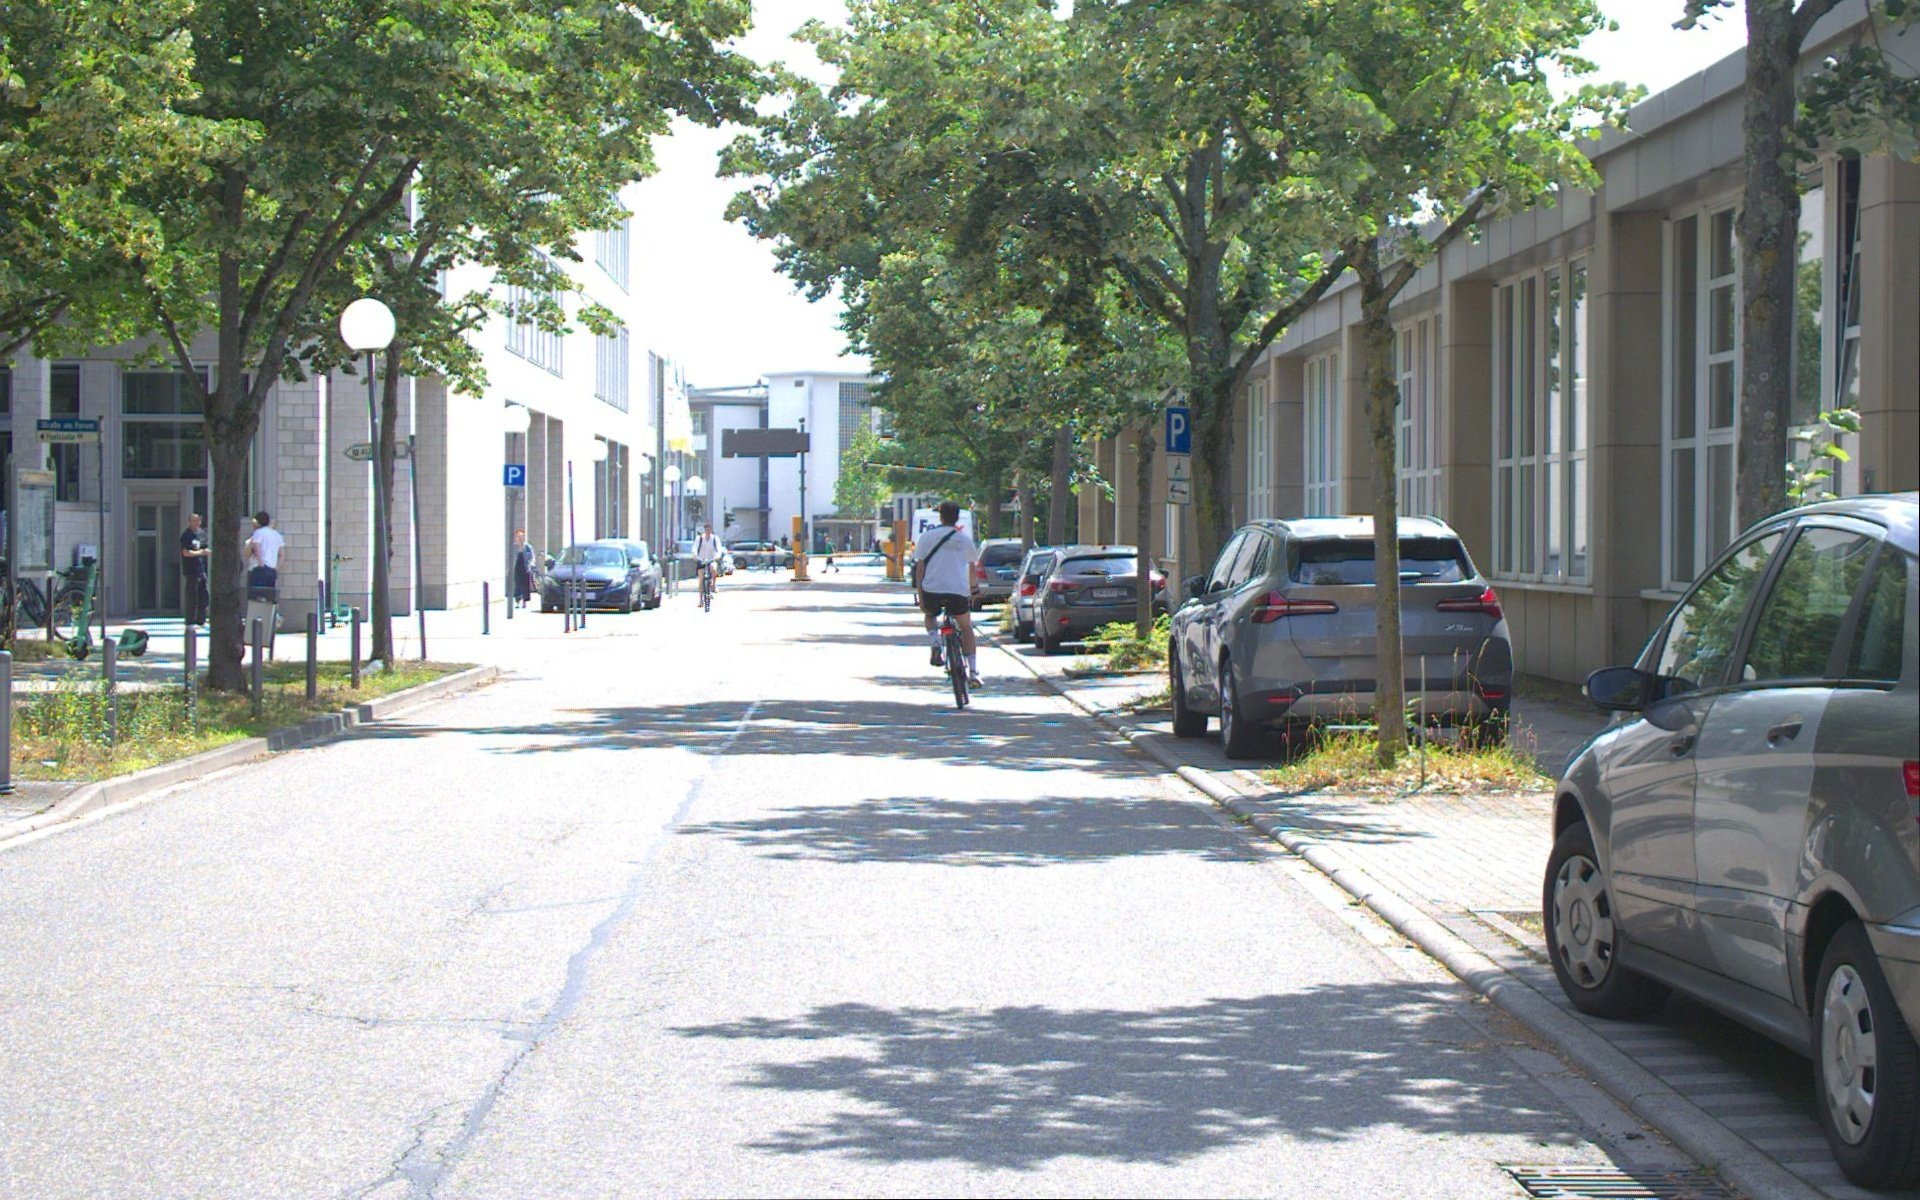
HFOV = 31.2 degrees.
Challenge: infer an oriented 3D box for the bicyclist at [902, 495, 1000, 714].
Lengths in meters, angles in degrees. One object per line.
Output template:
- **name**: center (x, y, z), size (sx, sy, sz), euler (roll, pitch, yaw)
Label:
- **bicyclist**: center (-0.088, 0.035, 32.023), size (0.873, 2.007, 0.850), euler (1, 1, -1)

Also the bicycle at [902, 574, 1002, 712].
- **bicycle**: center (-0.092, 0.376, 32.007), size (0.882, 1.195, 2.750), euler (1, 1, -1)

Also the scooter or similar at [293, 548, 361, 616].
- **scooter or similar**: center (-11.472, -0.335, 62.248), size (0.525, 1.206, 1.557), euler (0, 1, -39)

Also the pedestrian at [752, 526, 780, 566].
- **pedestrian**: center (-10.345, -2.881, 182.931), size (1.416, 2.100, 0.995), euler (1, 1, -5)

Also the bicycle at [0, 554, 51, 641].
- **bicycle**: center (-12.444, -0.045, 45.038), size (0.552, 1.083, 1.973), euler (2, 1, -1)

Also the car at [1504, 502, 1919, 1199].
- **car**: center (2.772, 0.528, 9.364), size (1.704, 1.568, 4.141), euler (-1, 1, -3)

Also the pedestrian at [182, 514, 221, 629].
- **pedestrian**: center (-11.783, -0.442, 53.393), size (0.441, 1.769, 0.451), euler (0, 1, -32)

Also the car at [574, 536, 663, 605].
- **car**: center (-7.602, -0.658, 76.772), size (1.631, 1.479, 4.178), euler (1, 1, -1)

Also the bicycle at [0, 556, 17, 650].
- **bicycle**: center (-10.875, 0.024, 38.791), size (0.381, 1.022, 1.816), euler (0, 1, -14)

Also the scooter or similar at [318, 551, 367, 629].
- **scooter or similar**: center (-9.913, -0.166, 55.215), size (0.454, 1.219, 1.549), euler (1, 1, 2)

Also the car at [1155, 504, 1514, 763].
- **car**: center (2.584, 0.213, 24.801), size (1.822, 1.658, 4.584), euler (-1, 0, -3)

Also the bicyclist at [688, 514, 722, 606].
- **bicyclist**: center (-5.590, -0.878, 75.347), size (0.711, 2.007, 1.019), euler (0, 1, -4)

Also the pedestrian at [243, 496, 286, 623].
- **pedestrian**: center (-10.663, -0.628, 52.679), size (0.412, 1.935, 0.663), euler (1, 1, -30)

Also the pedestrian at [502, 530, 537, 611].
- **pedestrian**: center (-9.386, -0.632, 73.293), size (0.649, 1.695, 0.890), euler (1, 1, -12)

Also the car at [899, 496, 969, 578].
- **car**: center (-0.854, -2.029, 110.125), size (2.083, 2.531, 4.316), euler (1, 1, -2)

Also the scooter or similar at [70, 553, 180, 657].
- **scooter or similar**: center (-9.547, 0.053, 39.355), size (0.339, 1.171, 1.326), euler (2, 1, 34)

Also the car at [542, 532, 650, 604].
- **car**: center (-7.561, -0.668, 71.722), size (1.766, 1.423, 4.234), euler (1, 1, 0)

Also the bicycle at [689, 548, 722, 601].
- **bicycle**: center (-5.578, -0.566, 75.392), size (0.685, 1.126, 1.889), euler (0, 1, -3)

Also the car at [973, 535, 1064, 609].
- **car**: center (1.271, -0.641, 76.298), size (1.858, 1.568, 4.000), euler (-1, 1, -1)

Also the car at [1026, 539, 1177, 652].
- **car**: center (1.939, -0.101, 48.225), size (1.780, 1.471, 4.462), euler (-1, 1, -2)

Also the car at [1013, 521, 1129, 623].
- **car**: center (1.719, -0.452, 54.101), size (1.616, 1.533, 3.780), euler (1, 1, -1)
